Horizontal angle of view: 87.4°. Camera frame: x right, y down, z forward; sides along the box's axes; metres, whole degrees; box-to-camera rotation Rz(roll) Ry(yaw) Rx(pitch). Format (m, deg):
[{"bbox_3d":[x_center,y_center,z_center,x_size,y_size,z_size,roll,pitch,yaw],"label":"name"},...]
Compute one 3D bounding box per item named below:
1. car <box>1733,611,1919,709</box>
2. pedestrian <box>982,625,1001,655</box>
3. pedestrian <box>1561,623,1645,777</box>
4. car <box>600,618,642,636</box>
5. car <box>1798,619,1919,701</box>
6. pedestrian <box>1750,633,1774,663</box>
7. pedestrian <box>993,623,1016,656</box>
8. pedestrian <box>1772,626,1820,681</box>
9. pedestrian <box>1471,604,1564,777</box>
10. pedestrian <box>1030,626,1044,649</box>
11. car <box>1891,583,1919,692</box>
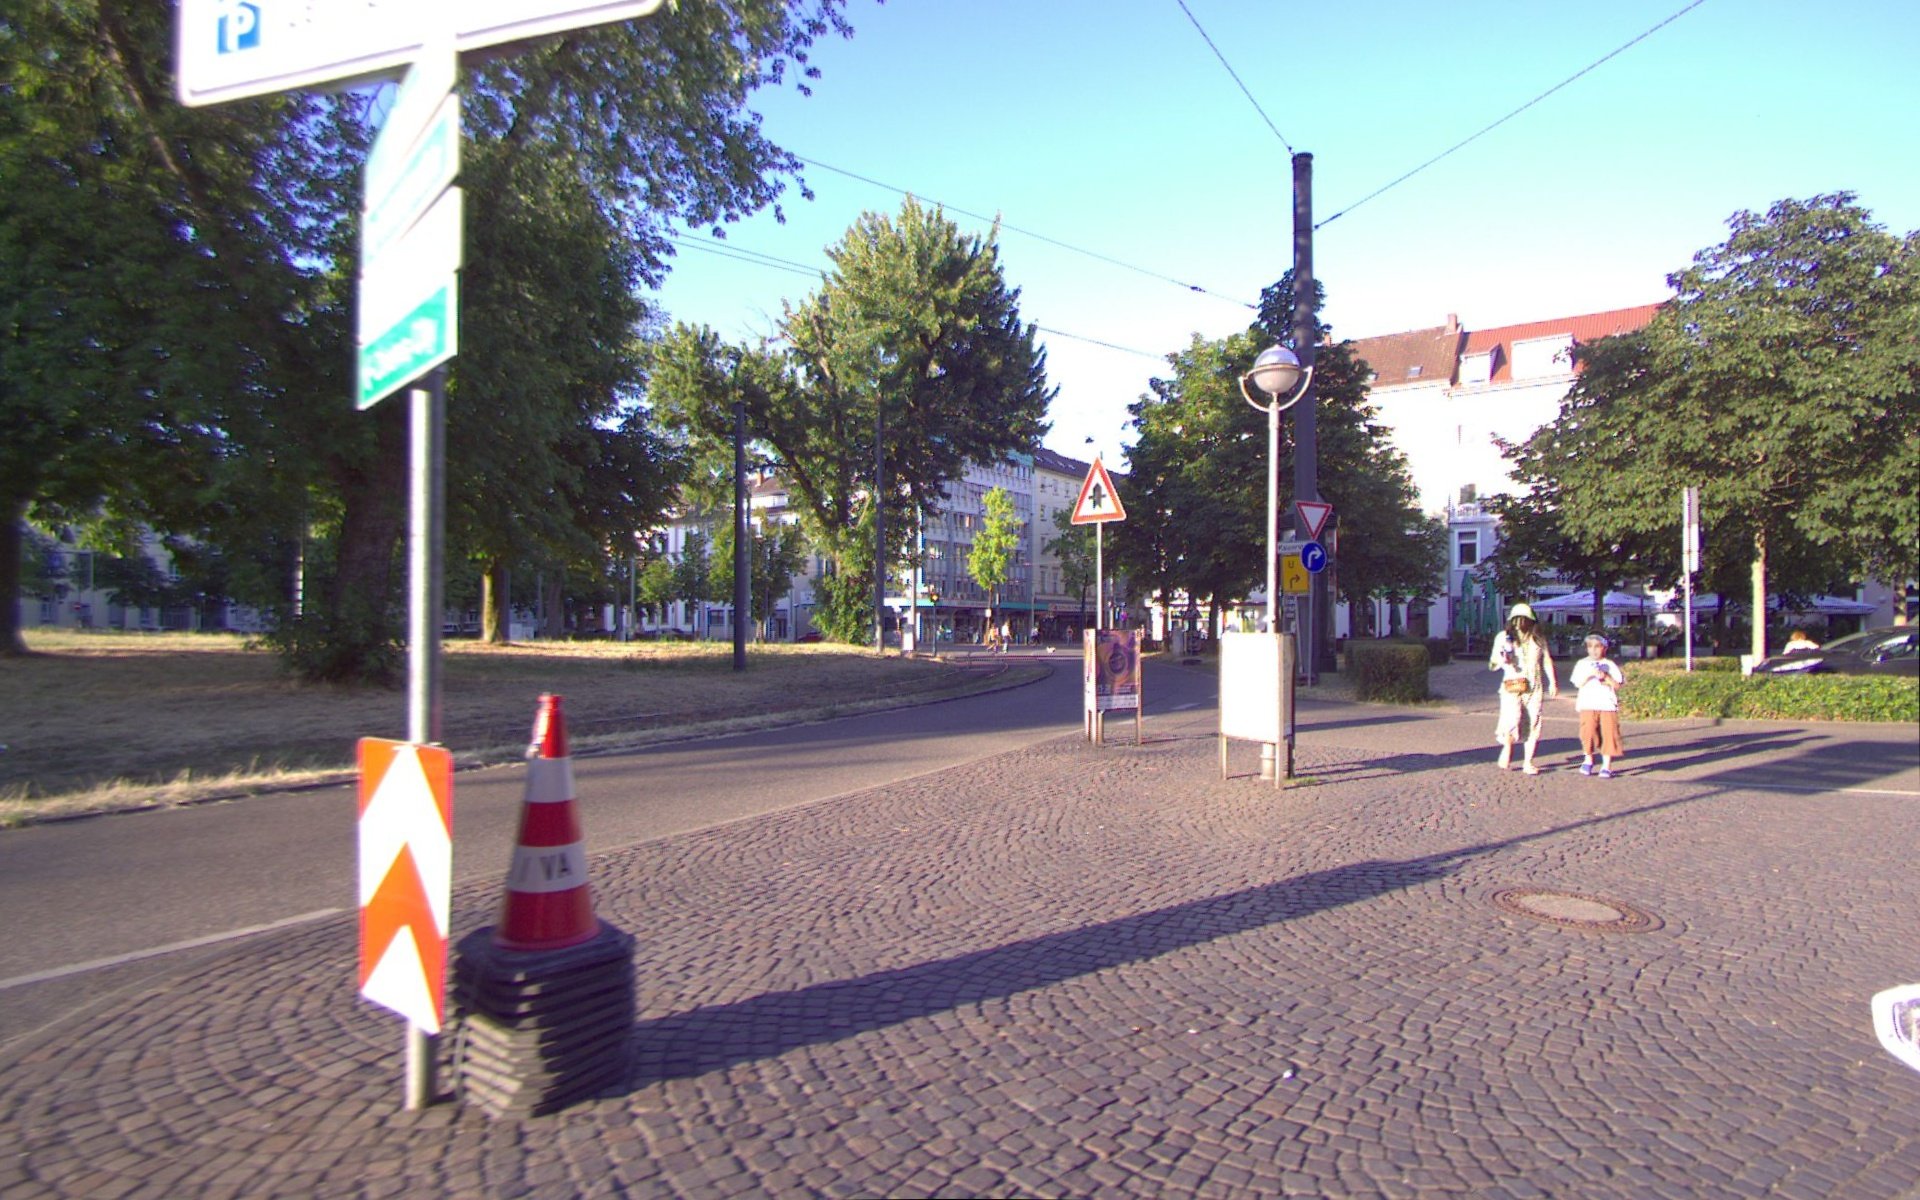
[{"bbox_3d":[16.361,1.038,17.860,3.811,1.603,1.801,1,0,25],"label":"car"},{"bbox_3d":[1.865,2.378,59.493,0.814,1.722,0.740,-2,1,-30],"label":"pedestrian"},{"bbox_3d":[6.085,0.919,9.530,0.553,1.382,0.614,0,0,22],"label":"pedestrian"},{"bbox_3d":[-33.381,2.615,98.813,3.935,1.728,1.993,-1,-1,36],"label":"car"},{"bbox_3d":[19.083,1.153,19.506,3.921,1.506,1.833,0,0,20],"label":"car"},{"bbox_3d":[32.613,1.932,40.859,0.527,1.188,0.578,1,1,-23],"label":"pedestrian"},{"bbox_3d":[2.597,2.267,58.375,0.984,1.865,0.857,-2,1,-30],"label":"pedestrian"},{"bbox_3d":[20.537,1.307,24.681,0.734,1.294,0.661,0,0,23],"label":"pedestrian"},{"bbox_3d":[5.336,0.829,9.654,0.686,1.580,0.694,0,0,23],"label":"pedestrian"},{"bbox_3d":[6.785,3.334,88.770,0.879,1.947,0.876,0,1,36],"label":"pedestrian"},{"bbox_3d":[22.569,0.826,20.748,4.535,2.281,2.197,1,0,33],"label":"car"}]
